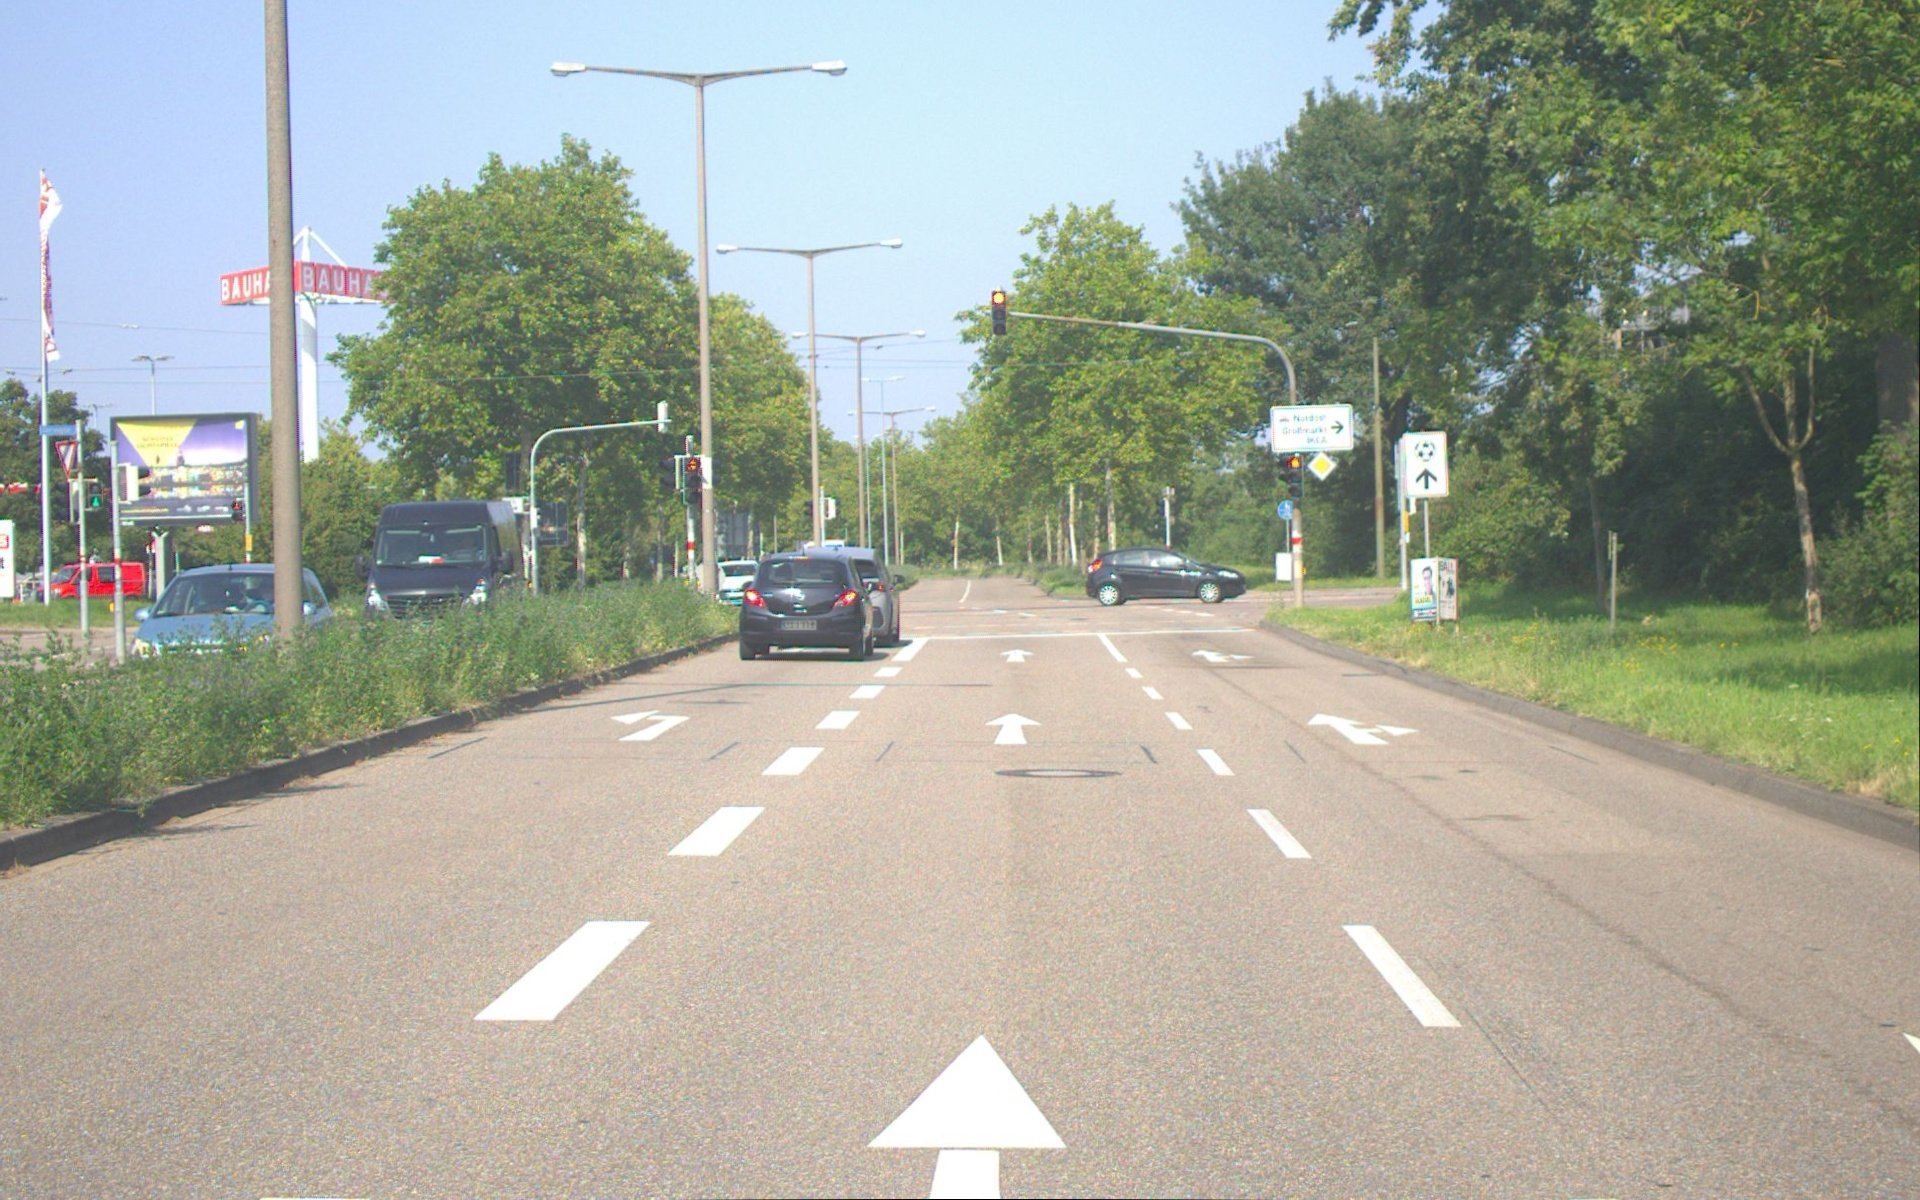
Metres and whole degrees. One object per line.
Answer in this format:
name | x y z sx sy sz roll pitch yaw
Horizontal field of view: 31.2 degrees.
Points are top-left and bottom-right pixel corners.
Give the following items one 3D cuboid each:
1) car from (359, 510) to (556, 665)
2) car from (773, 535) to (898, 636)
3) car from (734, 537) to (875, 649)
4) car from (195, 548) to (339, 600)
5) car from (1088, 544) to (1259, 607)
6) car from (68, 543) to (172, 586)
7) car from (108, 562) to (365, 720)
car | -7.934 -0.225 54.884 2.112 2.325 6.282 0 1 1
car | -1.909 -0.251 53.548 1.692 1.481 4.000 -2 1 1
car | -2.108 -0.116 47.550 1.692 1.481 4.000 0 1 1
car | -18.420 -0.702 91.426 3.376 1.133 1.493 -4 1 10
car | 5.305 -0.607 85.288 3.964 1.528 1.822 0 1 13
car | -39.248 -1.669 160.682 1.999 2.007 4.280 0 1 44
car | -7.577 0.391 36.335 1.773 1.568 4.000 0 1 1
